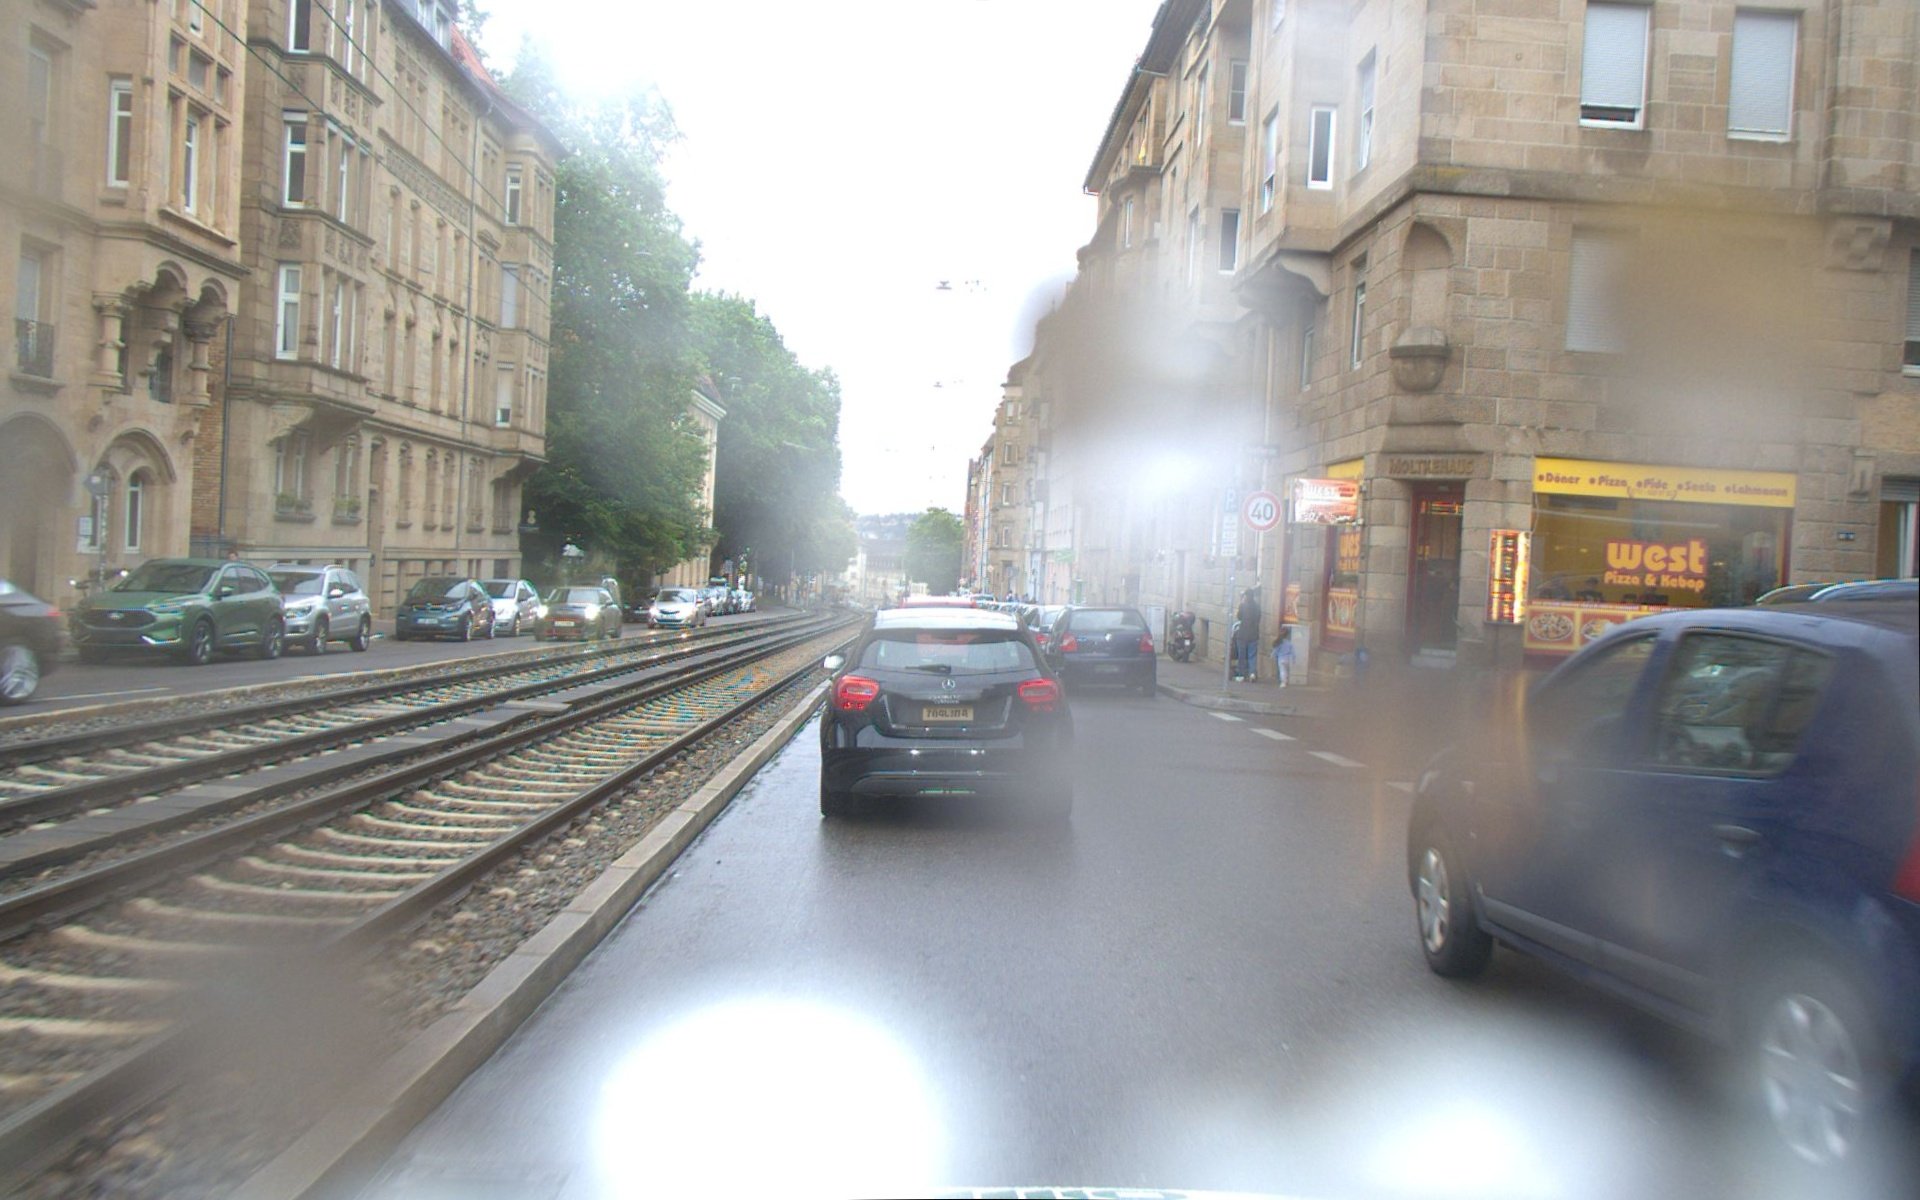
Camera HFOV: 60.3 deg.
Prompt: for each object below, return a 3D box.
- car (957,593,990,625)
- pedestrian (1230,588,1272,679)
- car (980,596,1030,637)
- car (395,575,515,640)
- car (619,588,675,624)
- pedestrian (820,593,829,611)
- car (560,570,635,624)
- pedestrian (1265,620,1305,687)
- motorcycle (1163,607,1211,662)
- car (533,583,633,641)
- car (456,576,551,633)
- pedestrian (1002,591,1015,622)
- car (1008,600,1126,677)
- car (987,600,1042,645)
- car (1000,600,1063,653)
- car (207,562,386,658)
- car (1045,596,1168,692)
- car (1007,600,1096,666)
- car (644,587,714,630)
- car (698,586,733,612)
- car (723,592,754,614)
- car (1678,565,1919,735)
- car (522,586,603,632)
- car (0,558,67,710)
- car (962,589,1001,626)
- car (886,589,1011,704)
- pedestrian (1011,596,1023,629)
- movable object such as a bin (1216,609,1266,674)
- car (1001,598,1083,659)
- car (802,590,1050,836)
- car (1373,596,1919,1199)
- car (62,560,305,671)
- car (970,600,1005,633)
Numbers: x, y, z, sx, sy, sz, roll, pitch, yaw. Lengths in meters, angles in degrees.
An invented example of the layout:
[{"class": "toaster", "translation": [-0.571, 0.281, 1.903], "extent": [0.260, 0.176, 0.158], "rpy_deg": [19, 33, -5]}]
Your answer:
[{"class": "car", "translation": [0.778, 0.508, 98.637], "extent": [1.791, 1.781, 4.466], "rpy_deg": [2, 0, -1]}, {"class": "pedestrian", "translation": [5.123, 0.580, 29.145], "extent": [0.550, 1.562, 0.710], "rpy_deg": [2, 0, -1]}, {"class": "car", "translation": [1.672, 0.604, 62.623], "extent": [1.634, 1.459, 3.954], "rpy_deg": [1, 0, -2]}, {"class": "car", "translation": [-12.819, 0.181, 42.207], "extent": [1.832, 1.534, 4.168], "rpy_deg": [1, 0, -1]}, {"class": "car", "translation": [-13.556, 0.240, 71.824], "extent": [1.812, 1.489, 4.548], "rpy_deg": [0, 0, -3]}, {"class": "pedestrian", "translation": [-12.323, 0.167, 150.434], "extent": [0.789, 1.662, 0.892], "rpy_deg": [0, 0, -1]}, {"class": "car", "translation": [-13.158, -0.124, 60.334], "extent": [1.764, 1.879, 4.817], "rpy_deg": [1, 0, -1]}, {"class": "pedestrian", "translation": [5.360, 0.868, 27.279], "extent": [0.500, 1.068, 0.626], "rpy_deg": [2, 0, -1]}, {"class": "motorcycle", "translation": [5.337, 0.789, 39.034], "extent": [0.691, 1.219, 2.745], "rpy_deg": [2, 0, -1]}, {"class": "car", "translation": [-9.892, 0.298, 43.678], "extent": [1.669, 1.412, 3.782], "rpy_deg": [1, 0, 1]}, {"class": "car", "translation": [-12.964, 0.121, 47.186], "extent": [1.660, 1.550, 3.854], "rpy_deg": [1, 0, -1]}, {"class": "pedestrian", "translation": [2.924, 0.377, 100.318], "extent": [0.730, 1.866, 1.039], "rpy_deg": [-1, 0, 0]}, {"class": "car", "translation": [2.052, 0.717, 32.852], "extent": [1.720, 1.411, 4.481], "rpy_deg": [0, 0, -5]}, {"class": "car", "translation": [1.870, 0.757, 57.526], "extent": [1.559, 1.459, 3.681], "rpy_deg": [1, 0, -3]}, {"class": "car", "translation": [2.042, 0.746, 48.085], "extent": [1.513, 1.439, 3.444], "rpy_deg": [2, 0, -2]}, {"class": "car", "translation": [-12.685, 0.178, 31.921], "extent": [1.821, 1.681, 4.313], "rpy_deg": [1, 0, -2]}, {"class": "car", "translation": [2.357, 0.676, 27.393], "extent": [1.637, 1.469, 3.789], "rpy_deg": [0, 0, -1]}, {"class": "car", "translation": [2.116, 0.734, 39.051], "extent": [1.673, 1.422, 4.016], "rpy_deg": [2, 0, -3]}, {"class": "car", "translation": [-10.140, 0.301, 59.918], "extent": [1.942, 1.482, 4.292], "rpy_deg": [1, 0, -2]}, {"class": "car", "translation": [-13.567, -0.053, 91.969], "extent": [1.508, 1.438, 3.951], "rpy_deg": [0, 0, -2]}, {"class": "car", "translation": [-14.274, 0.168, 106.933], "extent": [1.469, 1.415, 3.987], "rpy_deg": [0, 0, 0]}, {"class": "car", "translation": [11.352, 0.546, 19.769], "extent": [4.681, 1.894, 1.999], "rpy_deg": [-1, 0, -2]}, {"class": "car", "translation": [-12.822, 0.265, 53.596], "extent": [1.727, 1.422, 4.268], "rpy_deg": [1, 0, -2]}, {"class": "car", "translation": [-10.368, 0.318, 14.806], "extent": [2.045, 1.483, 4.860], "rpy_deg": [1, 0, 1]}, {"class": "car", "translation": [1.071, 0.359, 83.987], "extent": [1.755, 1.796, 4.210], "rpy_deg": [1, 0, -2]}, {"class": "car", "translation": [-0.199, 0.669, 25.821], "extent": [1.749, 1.609, 3.999], "rpy_deg": [2, 0, -1]}, {"class": "pedestrian", "translation": [3.084, 0.687, 89.851], "extent": [0.595, 1.794, 0.688], "rpy_deg": [0, 0, -2]}, {"class": "movable object such as a bin", "translation": [5.108, 0.747, 30.092], "extent": [0.651, 1.122, 1.123], "rpy_deg": [2, 0, -2]}, {"class": "car", "translation": [2.104, 0.720, 43.623], "extent": [1.752, 1.488, 4.081], "rpy_deg": [2, 0, -3]}, {"class": "car", "translation": [-0.269, 0.724, 12.409], "extent": [1.548, 1.531, 3.573], "rpy_deg": [2, 0, -2]}, {"class": "car", "translation": [2.894, 0.749, 5.653], "extent": [1.658, 1.508, 3.925], "rpy_deg": [0, 0, -6]}, {"class": "car", "translation": [-12.548, 0.225, 27.084], "extent": [1.820, 1.630, 4.430], "rpy_deg": [1, 0, 0]}, {"class": "car", "translation": [1.285, 0.788, 79.318], "extent": [1.538, 1.487, 3.599], "rpy_deg": [1, 0, -1]}]
